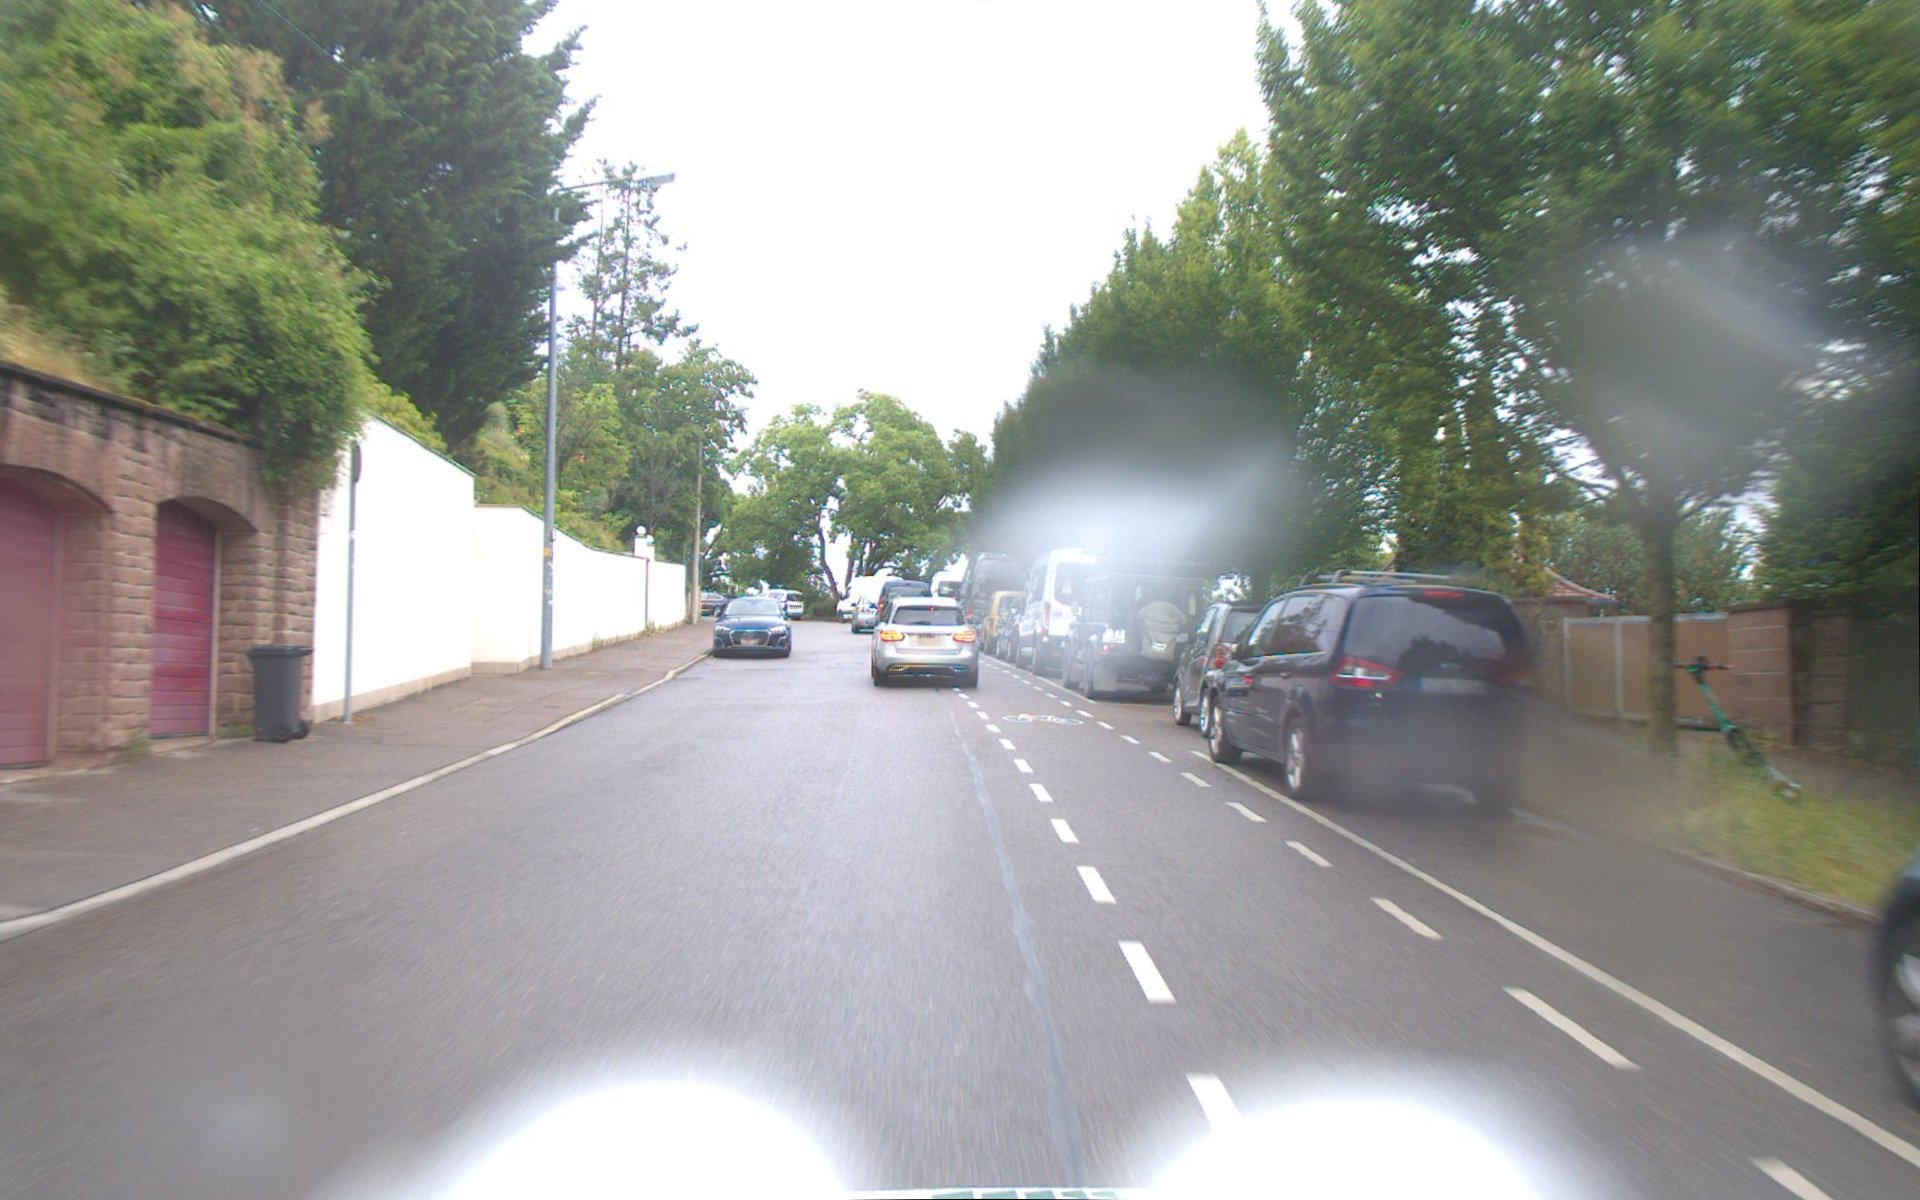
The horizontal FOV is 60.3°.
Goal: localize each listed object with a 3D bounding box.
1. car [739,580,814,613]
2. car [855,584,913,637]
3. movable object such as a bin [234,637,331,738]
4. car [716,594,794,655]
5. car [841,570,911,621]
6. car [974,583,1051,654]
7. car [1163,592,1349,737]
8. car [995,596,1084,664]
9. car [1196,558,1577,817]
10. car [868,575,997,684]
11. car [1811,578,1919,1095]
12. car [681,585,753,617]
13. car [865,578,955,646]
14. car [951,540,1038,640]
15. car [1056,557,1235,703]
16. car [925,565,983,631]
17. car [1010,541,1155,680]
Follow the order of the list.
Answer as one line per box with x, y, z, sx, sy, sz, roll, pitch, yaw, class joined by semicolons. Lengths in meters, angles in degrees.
-11.362;-0.219;102.287;4.409;1.727;1.962;4;0;37;car
-2.727;0.389;59.771;1.954;1.738;3.998;3;-1;-2;car
-6.695;0.858;16.374;0.645;0.935;0.677;2;0;-1;movable object such as a bin
-4.959;0.566;40.499;1.714;1.381;4.421;0;0;-5;car
-4.736;-0.268;92.904;2.101;2.570;4.455;4;0;-28;car
1.476;0.498;47.926;1.693;1.816;4.273;5;0;-3;car
3.525;0.730;20.150;1.565;1.585;2.953;2;0;-3;car
1.986;0.730;42.336;1.639;1.483;4.220;5;0;-4;car
3.423;0.622;14.294;1.745;1.814;4.675;2;0;-4;car
-0.552;0.471;28.855;1.985;1.738;4.212;1;0;-4;car
3.818;0.773;3.816;1.658;1.598;3.922;3;0;0;car
-15.559;0.058;105.812;4.586;1.727;1.959;4;0;41;car
-1.451;0.346;46.451;1.957;1.738;3.991;3;-1;-9;car
1.053;-0.336;54.108;2.083;2.937;5.764;4;0;-5;car
2.925;0.446;27.258;1.954;2.088;5.117;3;0;-4;car
-0.291;-0.103;69.959;2.023;2.537;4.756;4;0;-4;car
2.472;0.196;35.135;2.131;2.536;6.029;4;0;-3;car
